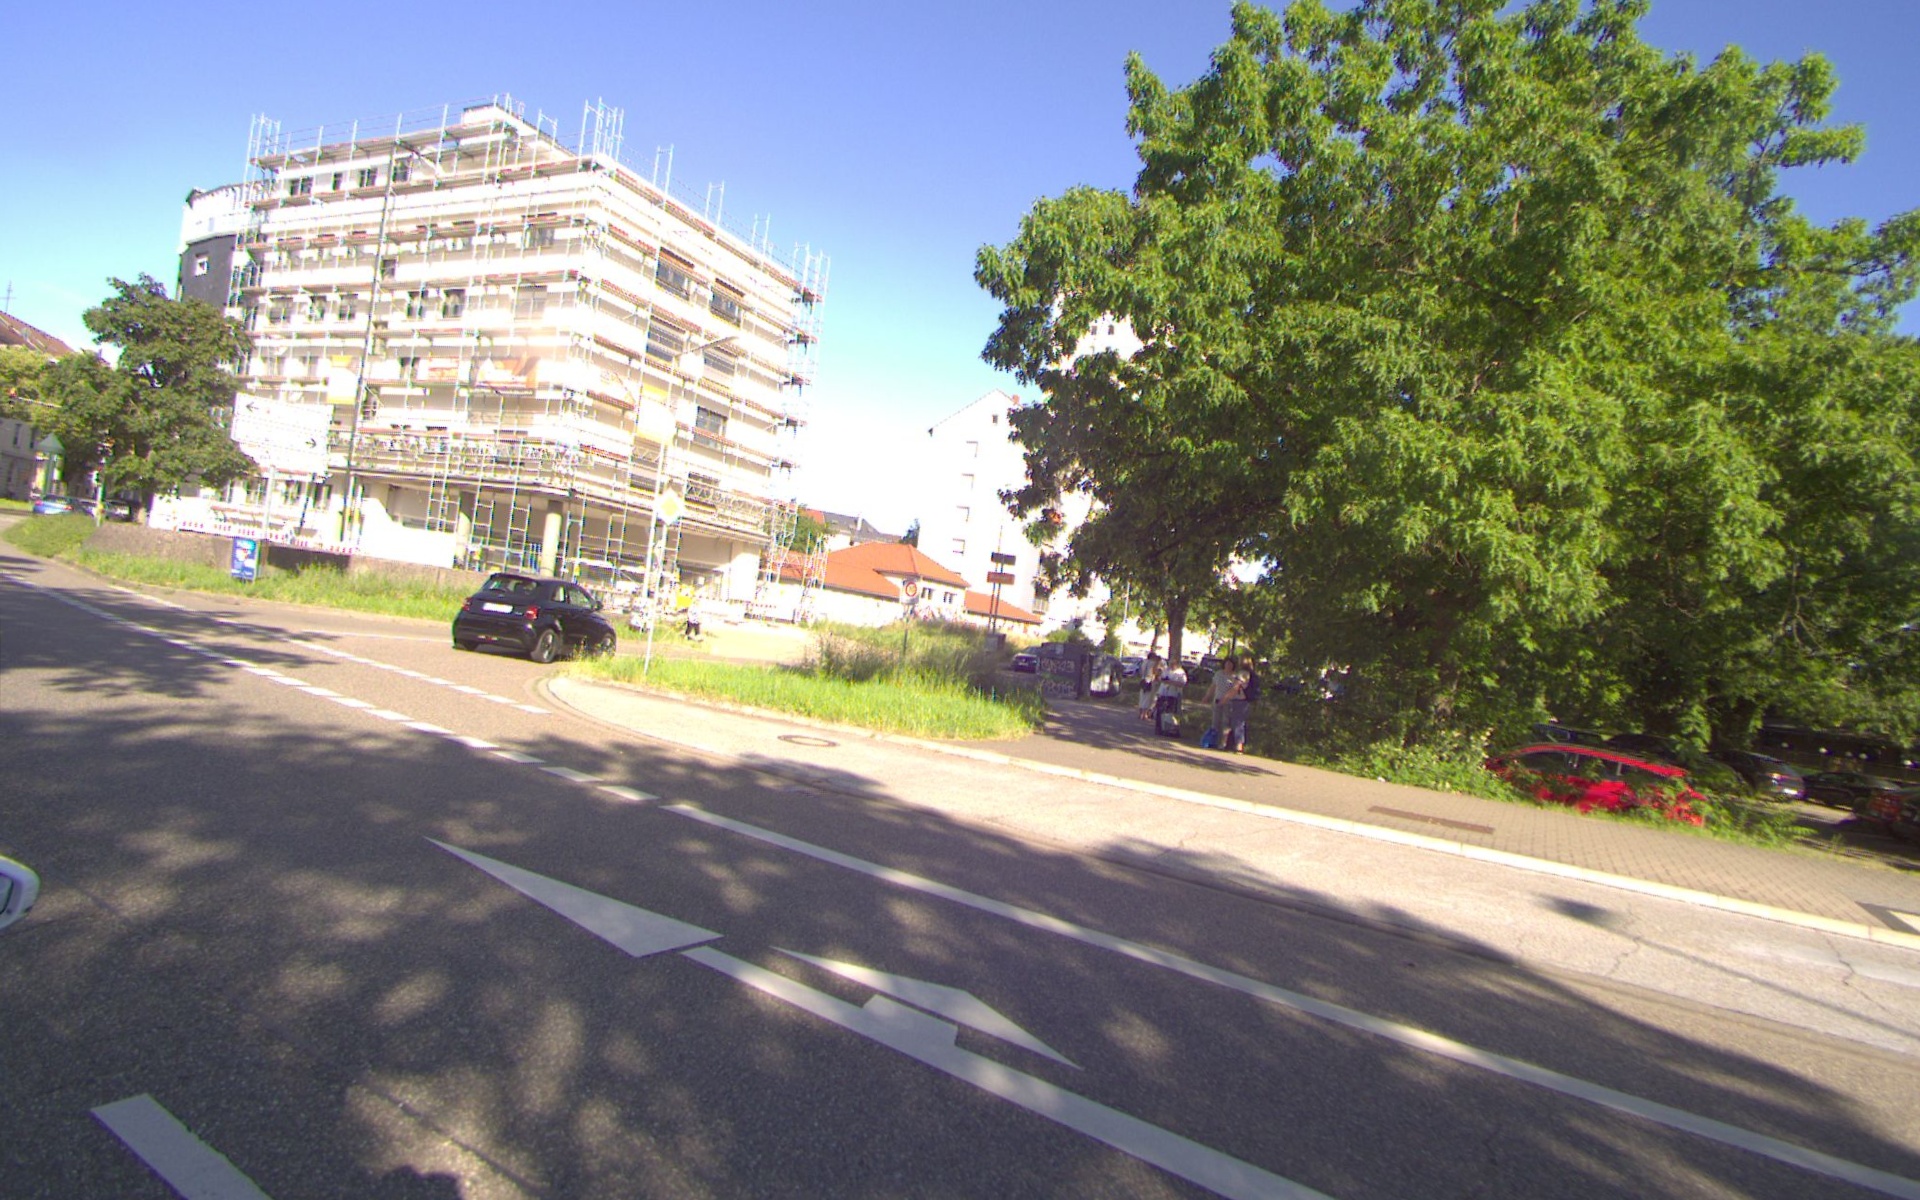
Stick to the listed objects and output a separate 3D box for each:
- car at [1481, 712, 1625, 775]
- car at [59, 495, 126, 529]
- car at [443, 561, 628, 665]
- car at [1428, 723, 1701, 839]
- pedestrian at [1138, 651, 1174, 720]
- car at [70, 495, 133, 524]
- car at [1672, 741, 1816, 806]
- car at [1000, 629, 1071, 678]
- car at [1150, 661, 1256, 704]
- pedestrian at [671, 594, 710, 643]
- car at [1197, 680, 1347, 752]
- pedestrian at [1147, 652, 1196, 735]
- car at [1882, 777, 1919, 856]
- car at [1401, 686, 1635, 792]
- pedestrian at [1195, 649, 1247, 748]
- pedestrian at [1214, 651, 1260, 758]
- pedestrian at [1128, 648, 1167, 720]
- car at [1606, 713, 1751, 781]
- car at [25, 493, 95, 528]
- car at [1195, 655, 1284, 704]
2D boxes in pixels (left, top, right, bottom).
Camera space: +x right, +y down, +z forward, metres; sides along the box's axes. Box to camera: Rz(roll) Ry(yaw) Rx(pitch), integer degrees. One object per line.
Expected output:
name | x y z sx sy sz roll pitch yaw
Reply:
car | 21.138 5.104 35.930 1.990 1.573 3.950 10 -4 -45
car | -49.948 -5.028 58.025 1.804 1.526 3.975 8 -1 -26
car | -7.728 0.276 18.680 1.649 1.520 3.564 8 -1 2
car | 10.404 3.071 17.578 3.845 1.168 1.400 7 -1 30
pedestrian | 4.887 2.131 25.031 0.557 1.638 0.599 7 -2 25
car | -67.599 -7.102 79.216 3.925 1.612 1.912 8 -1 18
car | 29.014 6.386 37.411 1.755 1.466 3.994 8 0 -8
car | 3.909 2.780 51.763 1.965 2.037 3.998 7 -2 28
car | 10.955 3.698 45.430 4.093 1.312 1.995 6 -4 39
pedestrian | -9.160 0.629 34.167 0.892 1.515 0.652 7 -1 22
car | 9.728 3.605 31.440 3.936 1.625 1.997 6 -3 34
pedestrian | 4.191 1.856 19.929 0.603 1.536 0.528 7 -1 33
car | 24.785 5.530 23.247 4.700 1.769 1.756 10 -1 34
car | 13.924 3.442 25.266 4.810 1.555 1.998 10 -2 34
pedestrian | 4.616 1.732 17.781 0.542 1.654 0.623 8 0 31
pedestrian | 4.704 1.767 17.049 0.403 1.720 0.603 8 0 30
pedestrian | 4.517 2.032 24.218 0.557 1.637 0.705 7 -2 25
car | 26.267 5.343 36.967 1.966 1.620 3.994 9 0 -8
car | -47.874 -4.734 53.585 1.760 1.459 3.594 9 -1 -27
car | 15.883 4.507 57.300 4.281 2.097 1.996 7 -1 34
